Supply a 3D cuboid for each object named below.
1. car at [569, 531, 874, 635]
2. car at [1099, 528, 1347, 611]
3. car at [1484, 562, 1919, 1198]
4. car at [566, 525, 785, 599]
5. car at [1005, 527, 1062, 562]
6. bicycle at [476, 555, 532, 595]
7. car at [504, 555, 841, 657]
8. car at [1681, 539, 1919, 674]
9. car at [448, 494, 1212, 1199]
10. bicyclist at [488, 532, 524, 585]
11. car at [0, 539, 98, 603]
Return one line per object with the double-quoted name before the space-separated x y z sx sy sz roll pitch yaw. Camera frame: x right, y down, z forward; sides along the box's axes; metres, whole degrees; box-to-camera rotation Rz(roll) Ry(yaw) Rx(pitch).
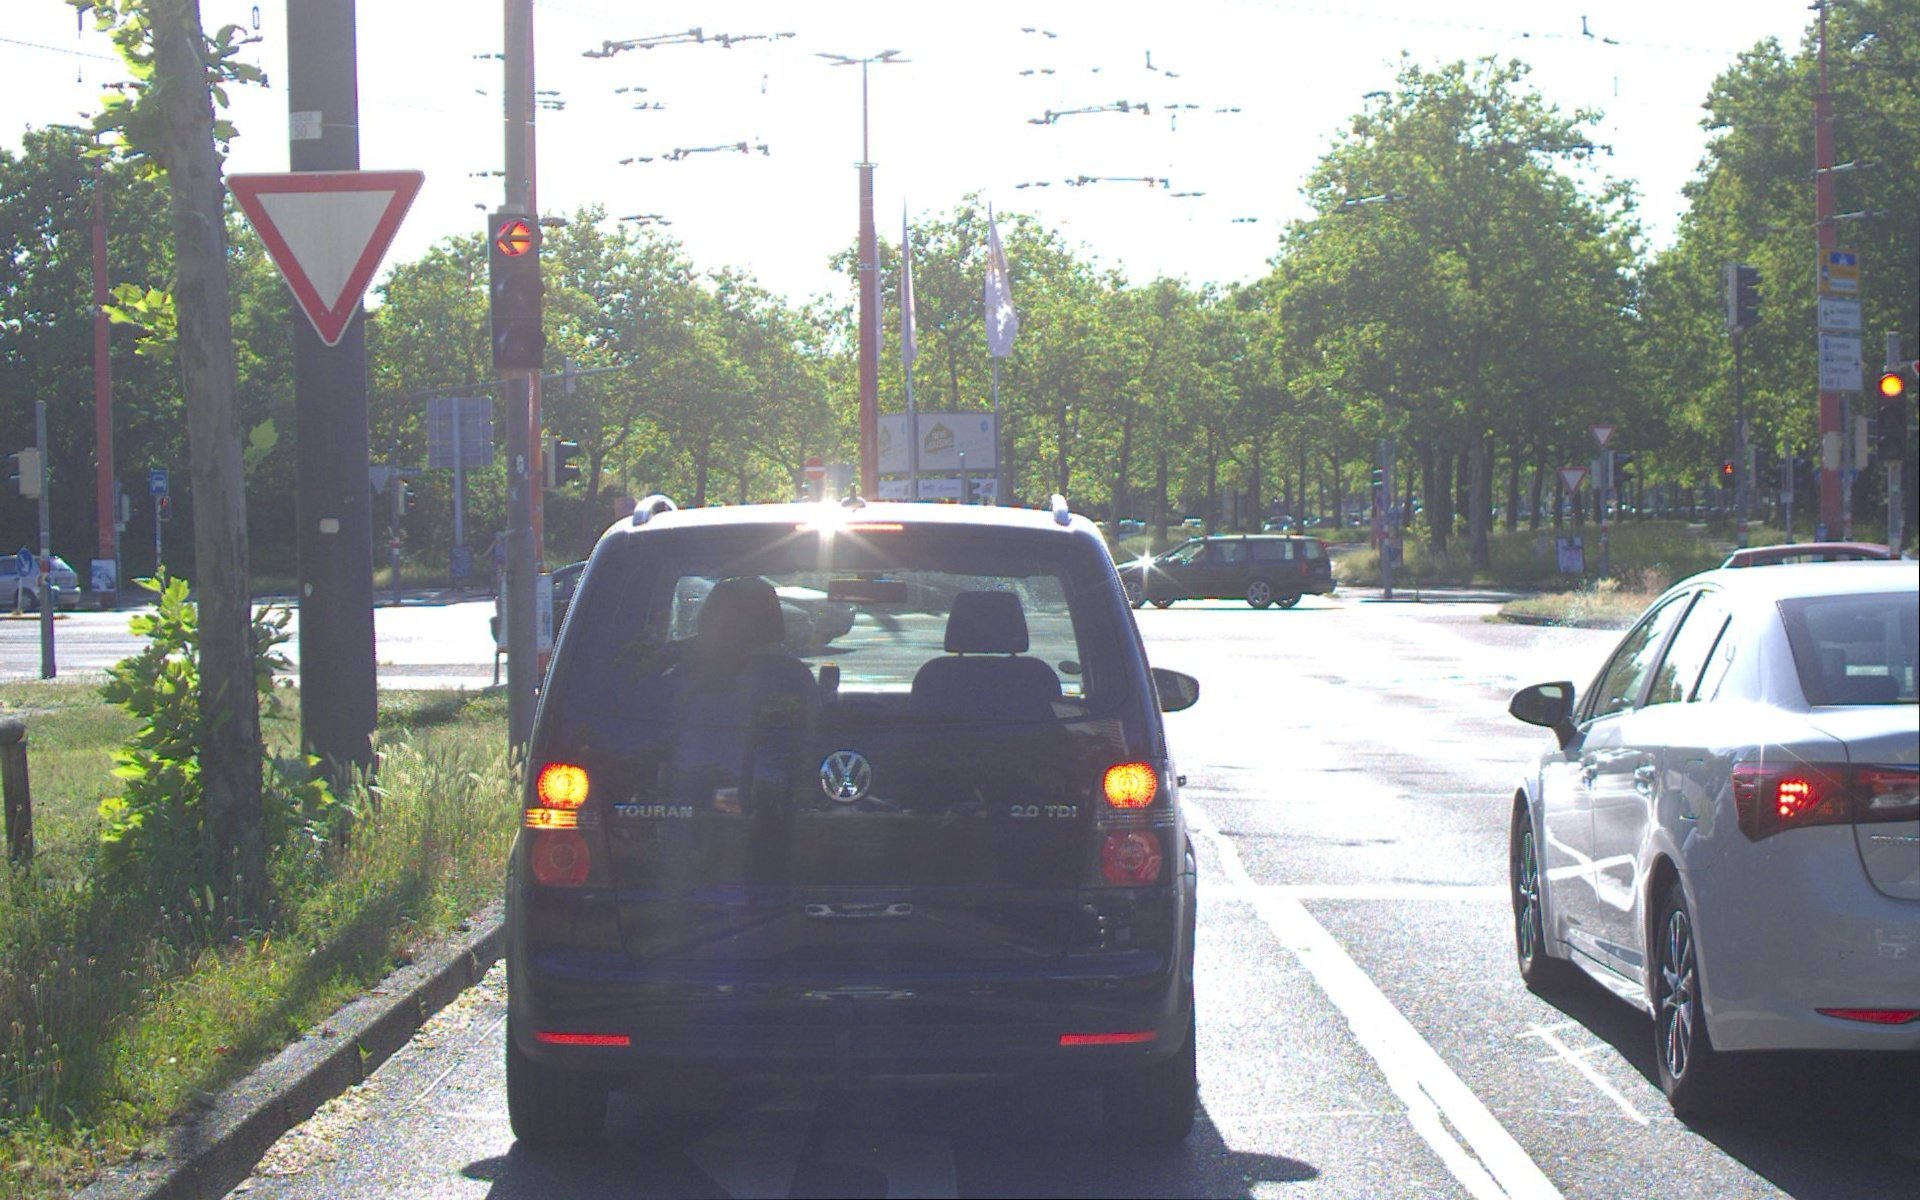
"car" -3.543 -0.263 50.864 4.226 1.474 1.751 0 1 30
"car" 5.177 -0.609 67.685 4.459 1.590 1.997 0 1 26
"car" 2.686 0.630 10.071 1.715 1.449 4.144 0 1 1
"car" -6.323 -0.845 76.367 4.459 1.590 1.997 0 1 26
"car" 3.666 -2.736 169.860 1.994 1.679 4.826 0 1 11
"bicycle" -12.525 -0.685 94.409 0.735 1.086 1.959 0 1 18
"car" -3.925 0.060 46.706 4.311 1.322 1.759 0 1 29
"car" 10.350 0.055 38.826 3.993 1.489 1.769 0 1 27
"car" -0.318 0.547 9.870 1.737 1.635 4.000 0 1 -1
"bicyclist" -12.494 -1.153 94.621 0.693 1.452 0.874 0 1 18
"car" -23.765 -0.735 85.943 3.993 1.575 1.997 0 1 27
